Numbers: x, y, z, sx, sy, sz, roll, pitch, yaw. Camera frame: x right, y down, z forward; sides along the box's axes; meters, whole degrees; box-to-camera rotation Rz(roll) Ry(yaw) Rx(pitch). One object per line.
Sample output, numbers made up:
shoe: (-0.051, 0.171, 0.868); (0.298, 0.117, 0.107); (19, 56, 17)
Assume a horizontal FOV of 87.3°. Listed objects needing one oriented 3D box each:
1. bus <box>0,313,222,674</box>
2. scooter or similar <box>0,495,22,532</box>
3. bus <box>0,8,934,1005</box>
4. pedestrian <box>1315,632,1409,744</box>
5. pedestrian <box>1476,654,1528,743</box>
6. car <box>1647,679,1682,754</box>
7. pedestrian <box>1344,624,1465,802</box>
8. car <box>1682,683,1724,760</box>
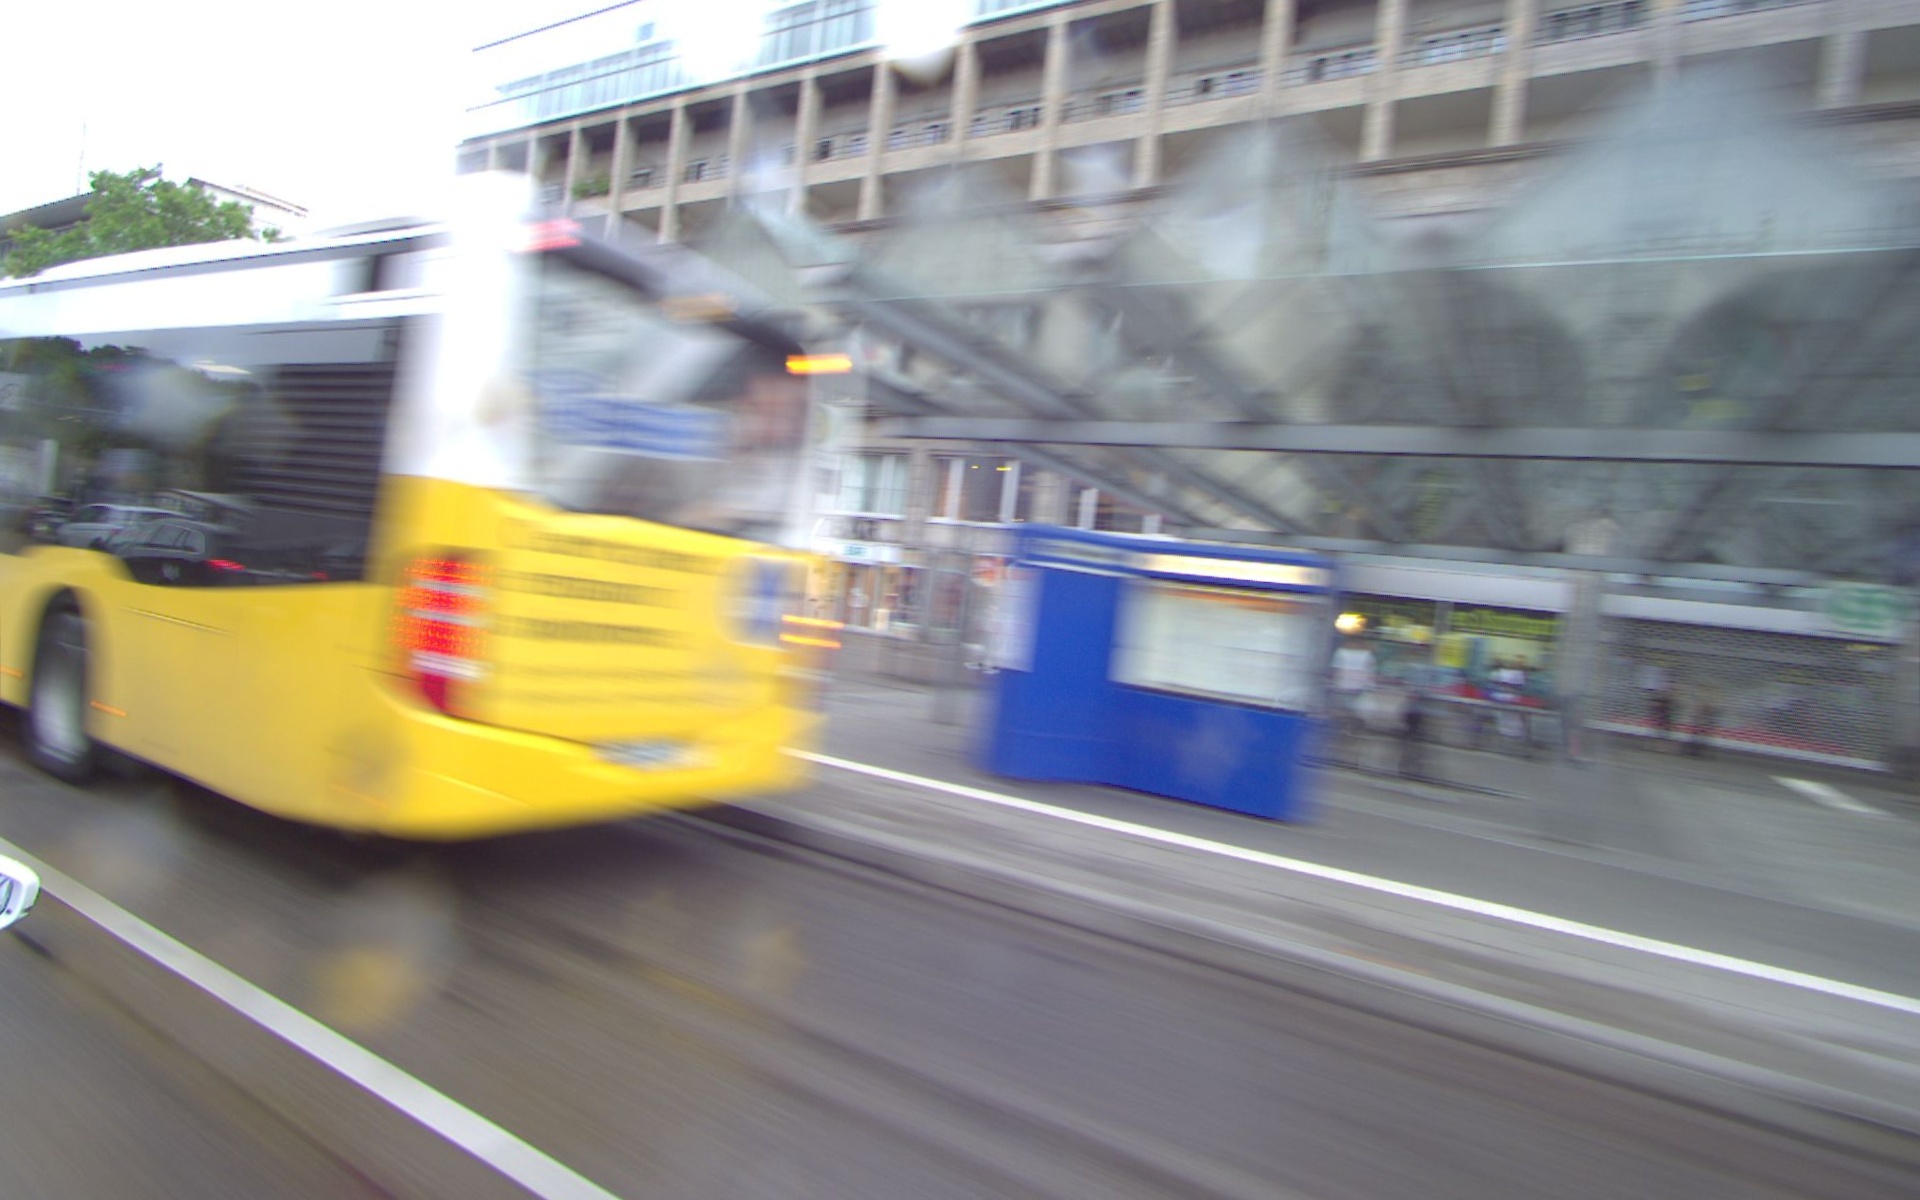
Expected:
bus: (-12.656, -1.387, 11.584); (9.086, 3.243, 3.119); (6, -1, 30)
scooter or similar: (-34.454, -3.140, 35.807); (1.348, 1.245, 0.568); (7, -1, -16)
bus: (-4.952, -0.581, 6.971); (8.983, 3.286, 3.147); (6, -1, 31)
pedestrian: (6.770, 1.475, 16.967); (0.973, 1.716, 0.854); (7, 0, -19)
pedestrian: (11.389, 2.060, 21.131); (0.740, 1.731, 0.760); (7, 0, 31)
car: (15.440, 2.552, 22.055); (0.464, 1.557, 0.590); (6, 0, 33)
pedestrian: (4.741, 1.181, 10.728); (0.887, 1.716, 0.749); (7, 0, 34)
car: (15.920, 2.598, 21.562); (0.558, 1.557, 0.590); (6, 0, 33)
